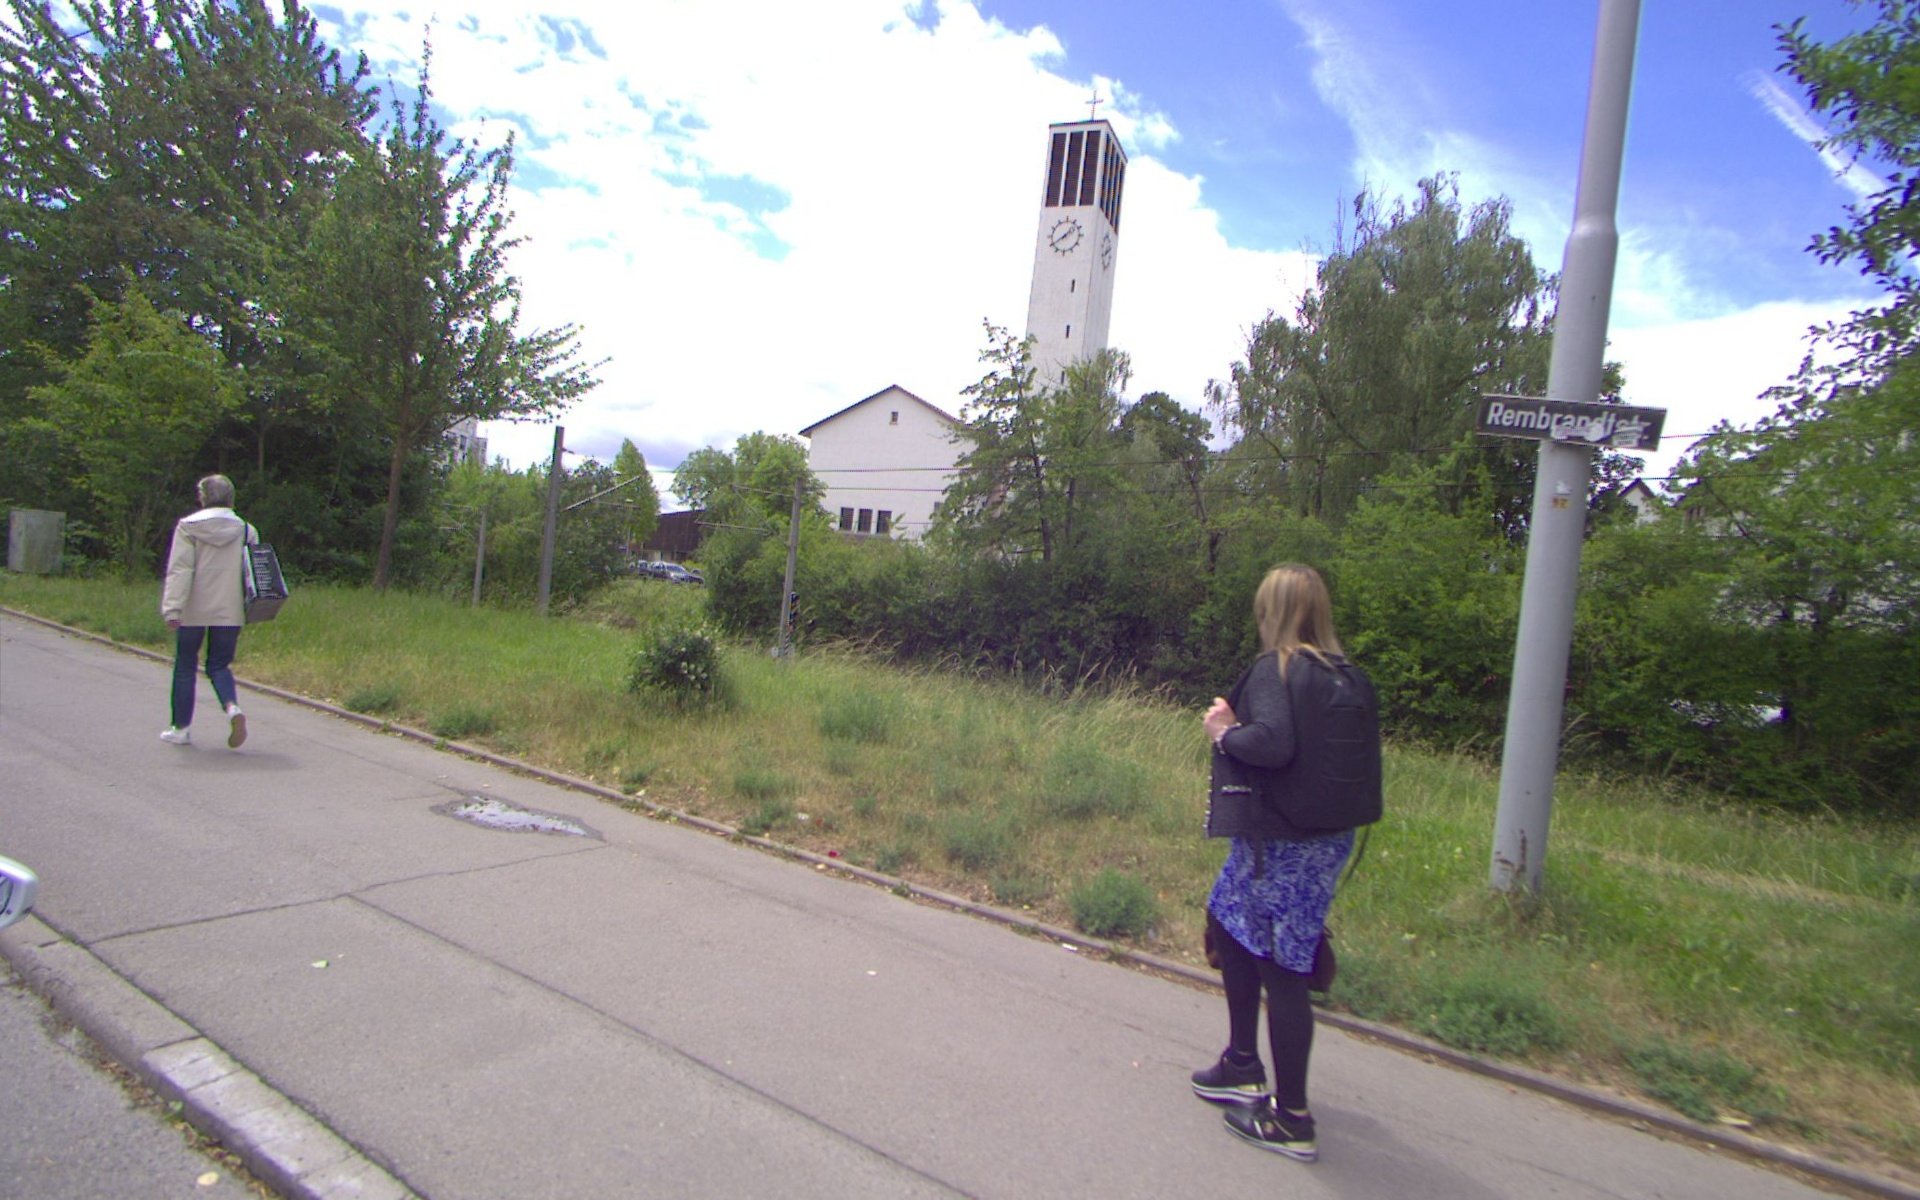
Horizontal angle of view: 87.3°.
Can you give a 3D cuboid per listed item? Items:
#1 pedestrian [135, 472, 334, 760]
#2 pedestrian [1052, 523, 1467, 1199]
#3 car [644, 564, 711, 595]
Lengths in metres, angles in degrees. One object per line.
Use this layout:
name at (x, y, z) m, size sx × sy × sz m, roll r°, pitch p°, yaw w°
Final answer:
pedestrian at (-4.552, 0.100, 6.322) m, size 0.679 × 1.679 × 0.686 m, roll 7°, pitch 0°, yaw 36°
pedestrian at (0.900, 0.691, 2.944) m, size 0.754 × 1.679 × 0.840 m, roll 7°, pitch -1°, yaw 36°
car at (-16.267, -1.170, 57.791) m, size 1.985 × 1.349 × 4.426 m, roll 5°, pitch 1°, yaw -41°
